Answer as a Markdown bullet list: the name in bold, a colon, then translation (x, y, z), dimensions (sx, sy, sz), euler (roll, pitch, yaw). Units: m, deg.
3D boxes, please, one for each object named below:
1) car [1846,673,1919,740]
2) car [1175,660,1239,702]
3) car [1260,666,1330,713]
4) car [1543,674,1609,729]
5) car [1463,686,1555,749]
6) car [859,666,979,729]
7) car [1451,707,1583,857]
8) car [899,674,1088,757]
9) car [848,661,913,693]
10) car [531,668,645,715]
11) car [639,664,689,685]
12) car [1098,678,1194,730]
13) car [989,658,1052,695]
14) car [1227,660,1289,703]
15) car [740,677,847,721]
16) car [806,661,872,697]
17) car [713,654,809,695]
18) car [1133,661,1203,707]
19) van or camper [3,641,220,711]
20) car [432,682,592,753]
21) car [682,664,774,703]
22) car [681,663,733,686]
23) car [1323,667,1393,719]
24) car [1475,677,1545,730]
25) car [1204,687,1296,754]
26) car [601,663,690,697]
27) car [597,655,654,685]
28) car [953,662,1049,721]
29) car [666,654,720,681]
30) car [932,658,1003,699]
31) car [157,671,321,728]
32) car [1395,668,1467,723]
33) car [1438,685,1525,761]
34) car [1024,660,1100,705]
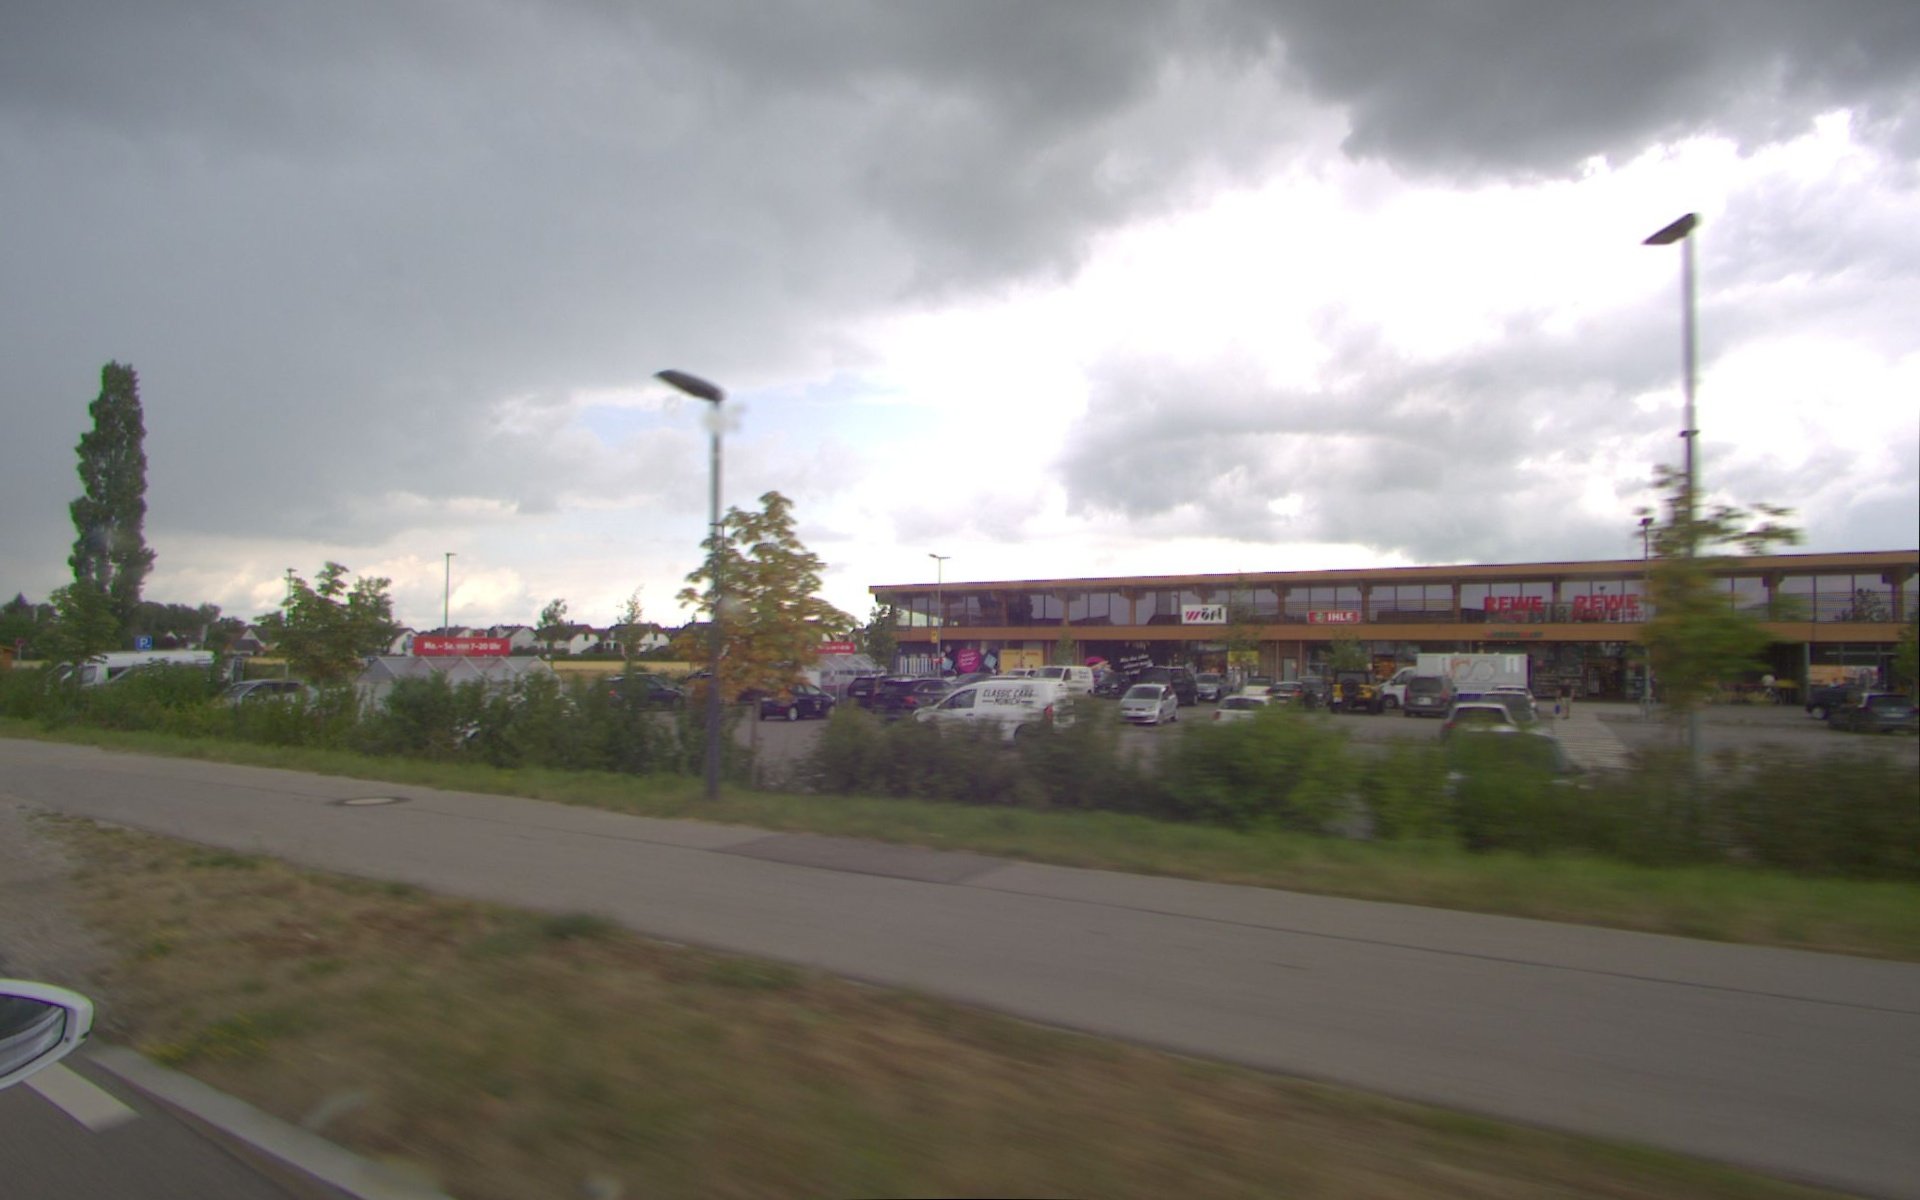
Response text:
- **car**: translation (33.007, 3.733, 35.729), dimensions (1.977, 2.039, 3.969), euler (-1, -1, 40)
- **car**: translation (13.446, 4.356, 54.348), dimensions (1.974, 2.039, 4.097), euler (-1, -1, 36)
- **car**: translation (15.603, 4.138, 46.538), dimensions (1.974, 2.038, 3.977), euler (-1, -4, 36)
- **car**: translation (25.260, 4.091, 41.015), dimensions (1.974, 1.895, 4.247), euler (-1, -1, 36)
- **car**: translation (17.058, 3.566, 31.011), dimensions (1.974, 1.504, 4.105), euler (-1, -2, 36)
- **car**: translation (-1.361, 3.336, 35.031), dimensions (1.974, 1.895, 4.247), euler (-1, -1, 36)
- **car**: translation (8.907, 2.740, 15.966), dimensions (1.633, 1.728, 3.981), euler (-1, -1, 31)
- **car**: translation (0.894, 3.132, 27.930), dimensions (4.871, 1.931, 2.100), euler (-1, -1, 31)
- **car**: translation (-4.648, 4.492, 58.954), dimensions (2.010, 1.628, 3.730), euler (-1, -1, 32)
- **car**: translation (-15.122, 3.672, 40.869), dimensions (1.974, 1.639, 3.974), euler (-1, -1, 36)
- **car**: translation (-22.599, 5.672, 76.470), dimensions (3.528, 1.527, 1.742), euler (-1, -1, 32)
- **car**: translation (7.033, 3.856, 37.663), dimensions (1.974, 1.572, 4.105), euler (-1, -2, 36)
- **car**: translation (3.730, 4.633, 60.937), dimensions (1.974, 2.039, 3.974), euler (-1, -1, 36)
- **car**: translation (15.902, 4.308, 53.318), dimensions (1.974, 2.039, 3.974), euler (-1, -1, 36)
- **car**: translation (-6.332, 3.760, 38.494), dimensions (1.971, 1.460, 3.983), euler (-1, -3, 31)
- **car**: translation (-7.207, 4.681, 59.949), dimensions (2.009, 1.936, 3.888), euler (-1, -1, 30)
- **car**: translation (-11.082, 4.131, 56.068), dimensions (1.976, 2.039, 5.194), euler (-1, -1, 39)
- **car**: translation (10.361, 4.125, 49.718), dimensions (1.974, 2.039, 3.974), euler (-1, -1, 36)
- **van or camper**: translation (-34.671, 3.013, 41.188), dimensions (2.247, 2.496, 6.459), euler (-1, -1, 29)
- **car**: translation (-12.150, 3.141, 27.349), dimensions (1.651, 1.558, 3.751), euler (-1, -1, 30)
- **car**: translation (-11.120, 3.962, 48.183), dimensions (1.974, 1.639, 3.974), euler (-1, -1, 36)
- **car**: translation (-18.628, 5.447, 73.659), dimensions (3.528, 1.527, 1.742), euler (-1, -1, 32)
- **car**: translation (18.039, 4.163, 45.289), dimensions (1.974, 2.039, 3.974), euler (-1, -1, 36)
- **car**: translation (22.803, 4.225, 41.452), dimensions (2.044, 1.872, 3.974), euler (-1, -1, 36)
- **car**: translation (8.430, 3.410, 28.947), dimensions (1.728, 1.552, 3.544), euler (-1, -1, 31)
- **car**: translation (-15.897, 4.016, 50.856), dimensions (1.874, 1.451, 4.172), euler (-1, -1, 30)
- **car**: translation (-24.625, 5.141, 73.726), dimensions (3.943, 2.039, 1.990), euler (-1, -1, 32)
- **car**: translation (1.684, 3.593, 39.949), dimensions (1.974, 2.039, 3.974), euler (-1, -1, 36)
- **car**: translation (-21.268, 5.351, 79.711), dimensions (3.943, 2.039, 1.990), euler (-1, -1, 32)
- **car**: translation (0.449, 4.355, 55.787), dimensions (1.974, 2.039, 3.974), euler (-1, -1, 36)
- **car**: translation (-24.696, 3.347, 34.445), dimensions (2.050, 1.618, 4.141), euler (-1, -1, 30)
- **car**: translation (20.242, 4.036, 42.956), dimensions (2.044, 2.039, 3.974), euler (-1, -1, 36)
- **car**: translation (13.228, 3.035, 25.327), dimensions (1.775, 1.726, 3.380), euler (-1, -5, 31)
- **car**: translation (5.371, 4.224, 52.126), dimensions (1.971, 2.039, 5.122), euler (-1, -1, 31)
